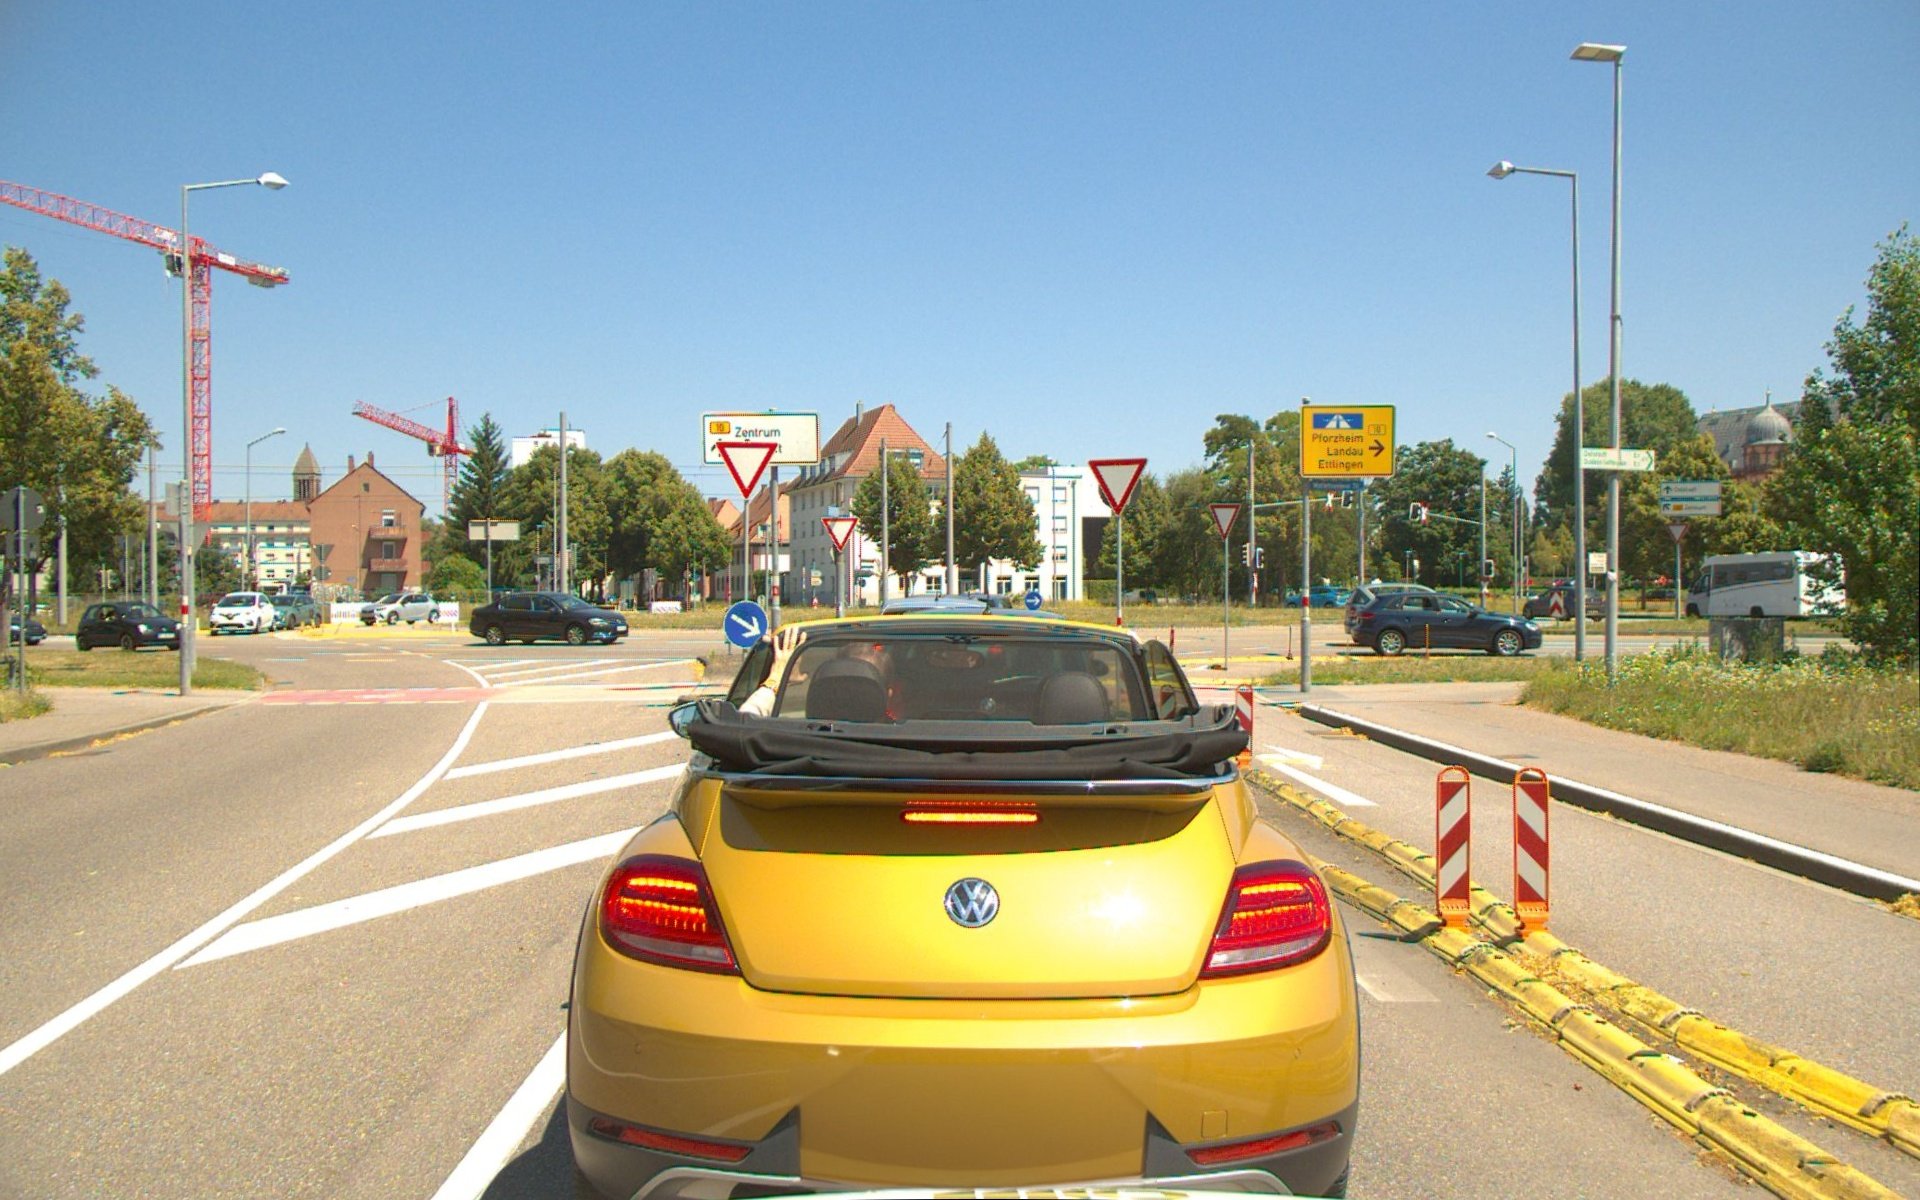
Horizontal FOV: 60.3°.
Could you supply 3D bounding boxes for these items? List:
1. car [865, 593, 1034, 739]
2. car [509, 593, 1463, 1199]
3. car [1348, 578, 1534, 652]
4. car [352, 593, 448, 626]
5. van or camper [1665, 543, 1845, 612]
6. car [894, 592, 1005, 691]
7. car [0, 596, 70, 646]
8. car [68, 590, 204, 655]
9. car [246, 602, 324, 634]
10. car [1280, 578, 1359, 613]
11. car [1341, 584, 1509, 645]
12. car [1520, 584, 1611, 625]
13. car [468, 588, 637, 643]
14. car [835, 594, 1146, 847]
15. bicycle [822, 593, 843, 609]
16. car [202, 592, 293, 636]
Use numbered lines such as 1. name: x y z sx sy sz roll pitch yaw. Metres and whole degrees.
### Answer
1. car: -0.129 0.664 18.685 1.701 1.467 3.999 0 0 -1
2. car: 0.020 0.715 4.871 1.717 1.447 3.776 0 0 -1
3. car: 11.040 0.339 38.184 3.914 1.648 1.738 0 0 8
4. car: -26.363 0.437 77.938 1.676 1.526 4.210 0 0 32
5. van or camper: 33.284 -0.904 69.583 2.465 2.741 7.478 0 0 -16
6. car: -0.186 0.639 27.485 1.701 1.503 3.999 0 0 -1
7. car: -33.572 0.703 57.436 4.835 1.685 2.000 0 0 20
8. car: -24.398 0.630 48.946 3.919 1.847 1.993 0 0 35
9. car: -27.761 0.712 68.110 1.672 1.258 3.786 0 0 -1
10. car: 20.024 -0.252 92.270 1.981 1.870 3.942 0 0 -40
11. car: 11.920 0.363 42.607 3.902 1.522 1.802 0 0 5
12. car: 25.038 0.179 68.423 1.635 1.634 3.183 0 0 -39
13. car: -11.459 0.423 46.475 4.427 1.472 1.822 0 0 24
14. car: 0.157 0.705 11.675 1.810 1.467 3.999 0 0 -1
15. bicycle: -9.069 0.072 117.330 1.439 1.090 0.497 0 0 -10
16. car: -26.915 0.513 62.624 1.720 1.576 3.999 0 0 -1
